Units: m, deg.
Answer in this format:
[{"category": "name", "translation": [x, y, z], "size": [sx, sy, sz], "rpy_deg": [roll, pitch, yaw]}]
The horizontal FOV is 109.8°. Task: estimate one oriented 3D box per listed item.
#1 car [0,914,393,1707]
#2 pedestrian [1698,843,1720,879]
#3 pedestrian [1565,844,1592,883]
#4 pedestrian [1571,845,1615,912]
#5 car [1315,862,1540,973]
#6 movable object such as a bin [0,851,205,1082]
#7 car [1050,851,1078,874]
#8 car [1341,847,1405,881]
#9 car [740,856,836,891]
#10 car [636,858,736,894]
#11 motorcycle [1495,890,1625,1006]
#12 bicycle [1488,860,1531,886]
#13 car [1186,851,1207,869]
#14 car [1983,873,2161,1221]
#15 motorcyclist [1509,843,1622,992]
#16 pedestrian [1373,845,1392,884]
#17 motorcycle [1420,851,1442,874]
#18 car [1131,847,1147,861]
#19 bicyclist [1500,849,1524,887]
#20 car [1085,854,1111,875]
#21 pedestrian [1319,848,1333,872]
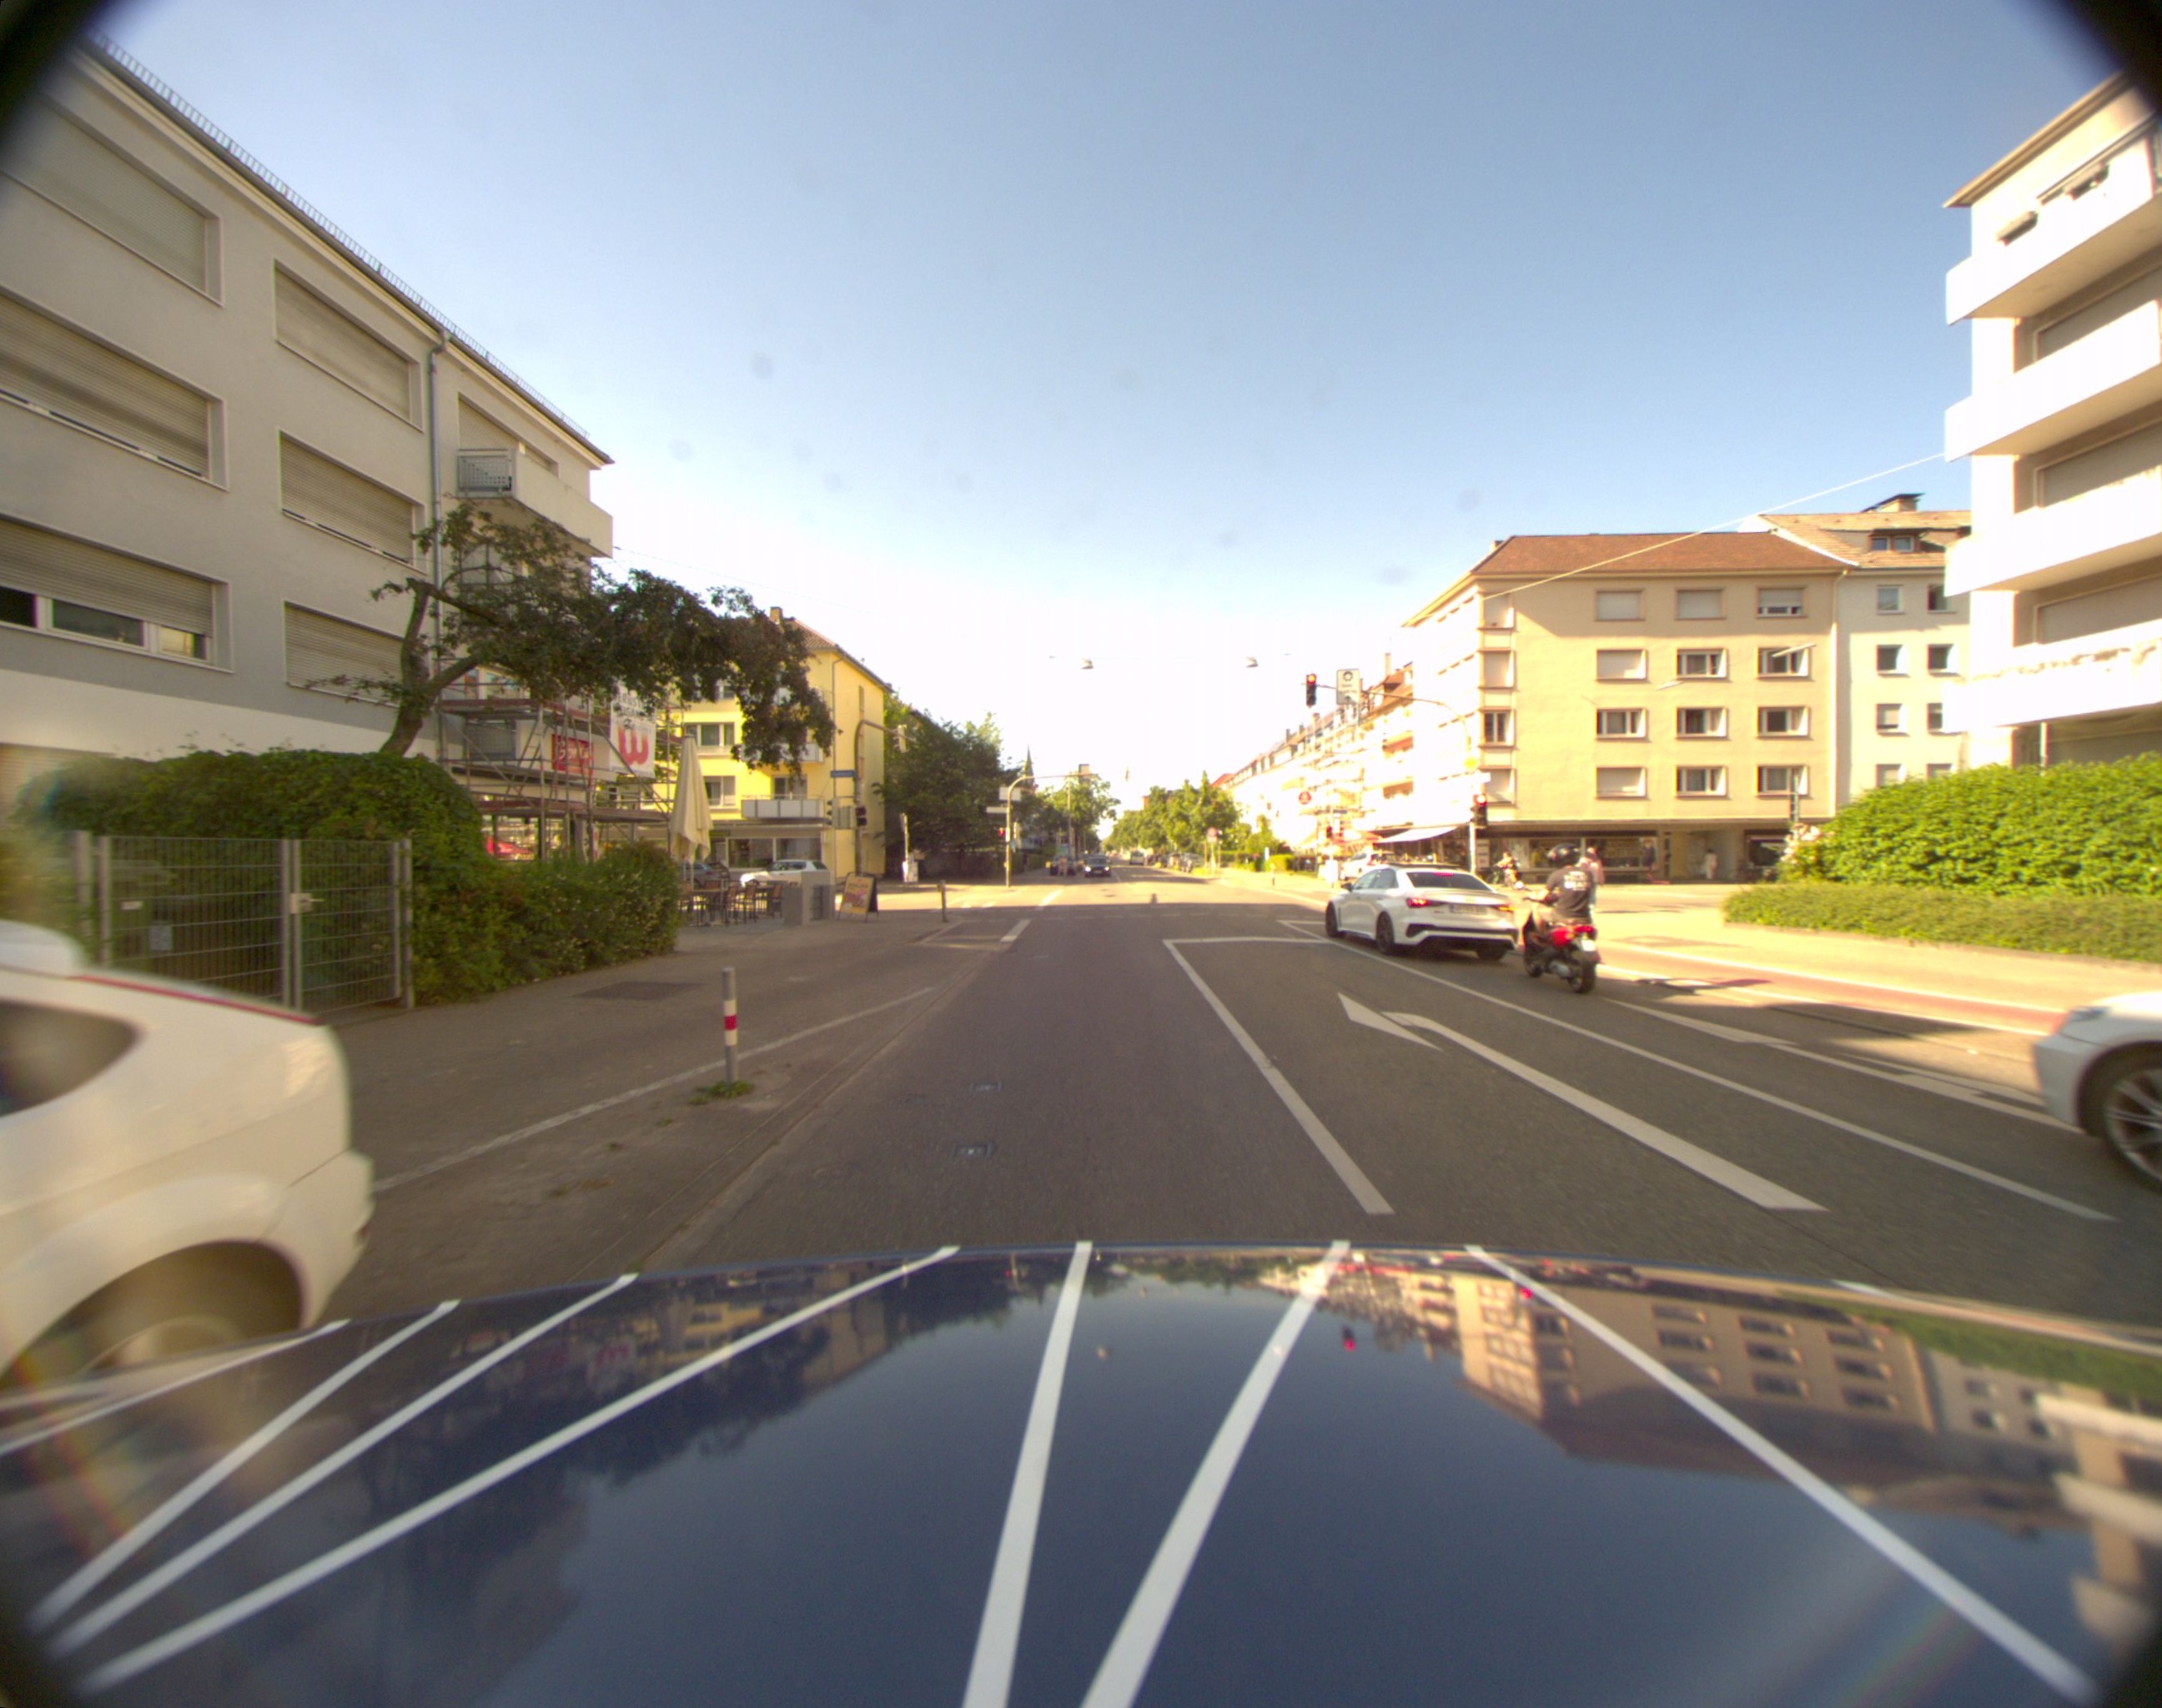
[{"category": "car", "translation": [-2.938, 0.932, 0.121], "size": [1.743, 1.473, 4.196], "rpy_deg": [0, 1, 2]}, {"category": "pedestrian", "translation": [29.515, 0.324, 35.716], "size": [0.564, 1.636, 0.727], "rpy_deg": [-1, 1, -40]}, {"category": "pedestrian", "translation": [22.179, 0.424, 33.885], "size": [0.728, 1.725, 0.683], "rpy_deg": [-1, 2, 0]}, {"category": "pedestrian", "translation": [12.836, 0.603, 19.054], "size": [0.659, 1.649, 0.682], "rpy_deg": [-1, 1, 3]}, {"category": "car", "translation": [5.455, 0.894, 12.683], "size": [1.702, 1.398, 4.506], "rpy_deg": [2, 0, 1]}, {"category": "movable object such as a bin", "translation": [-6.708, 0.669, 4.873], "size": [1.142, 1.347, 0.842], "rpy_deg": [2, 0, -8]}, {"category": "car", "translation": [-1.192, 0.580, 55.440], "size": [1.822, 1.542, 4.304], "rpy_deg": [-1, 0, 2]}, {"category": "car", "translation": [14.796, 0.447, 38.712], "size": [1.764, 1.613, 4.304], "rpy_deg": [-1, 0, 2]}, {"category": "car", "translation": [-13.004, 0.857, 33.818], "size": [3.644, 1.473, 1.481], "rpy_deg": [-1, 1, 2]}, {"category": "car", "translation": [-17.616, 0.972, 33.968], "size": [3.644, 1.473, 1.579], "rpy_deg": [-1, 1, 2]}, {"category": "motorcycle", "translation": [5.588, 1.036, 8.999], "size": [0.449, 1.115, 1.933], "rpy_deg": [2, 1, 6]}, {"category": "bicycle", "translation": [18.068, 0.798, 32.018], "size": [1.565, 1.070, 0.449], "rpy_deg": [-1, 1, 0]}, {"category": "car", "translation": [9.417, 0.463, 62.022], "size": [1.322, 1.348, 3.093], "rpy_deg": [-1, 1, 2]}, {"category": "car", "translation": [5.459, 0.866, 1.460], "size": [1.818, 1.456, 4.778], "rpy_deg": [1, 1, 2]}, {"category": "motorcyclist", "translation": [5.641, 0.701, 8.908], "size": [0.730, 1.637, 0.918], "rpy_deg": [2, 1, 7]}, {"category": "pedestrian", "translation": [13.445, 0.467, 33.903], "size": [0.671, 1.709, 0.584], "rpy_deg": [0, 2, 11]}, {"category": "motorcycle", "translation": [20.788, 0.497, 45.182], "size": [0.570, 1.360, 1.763], "rpy_deg": [0, 0, 3]}, {"category": "car", "translation": [7.926, -0.053, 103.989], "size": [1.965, 1.911, 5.496], "rpy_deg": [-1, 0, 2]}, {"category": "bicyclist", "translation": [18.172, 0.584, 32.048], "size": [0.685, 1.598, 0.578], "rpy_deg": [-1, 1, 0]}, {"category": "car", "translation": [1.188, 0.670, 52.150], "size": [1.654, 1.348, 4.304], "rpy_deg": [-1, 0, 2]}, {"category": "pedestrian", "translation": [15.517, 0.390, 48.148], "size": [0.643, 1.502, 0.535], "rpy_deg": [-5, 1, 0]}]
